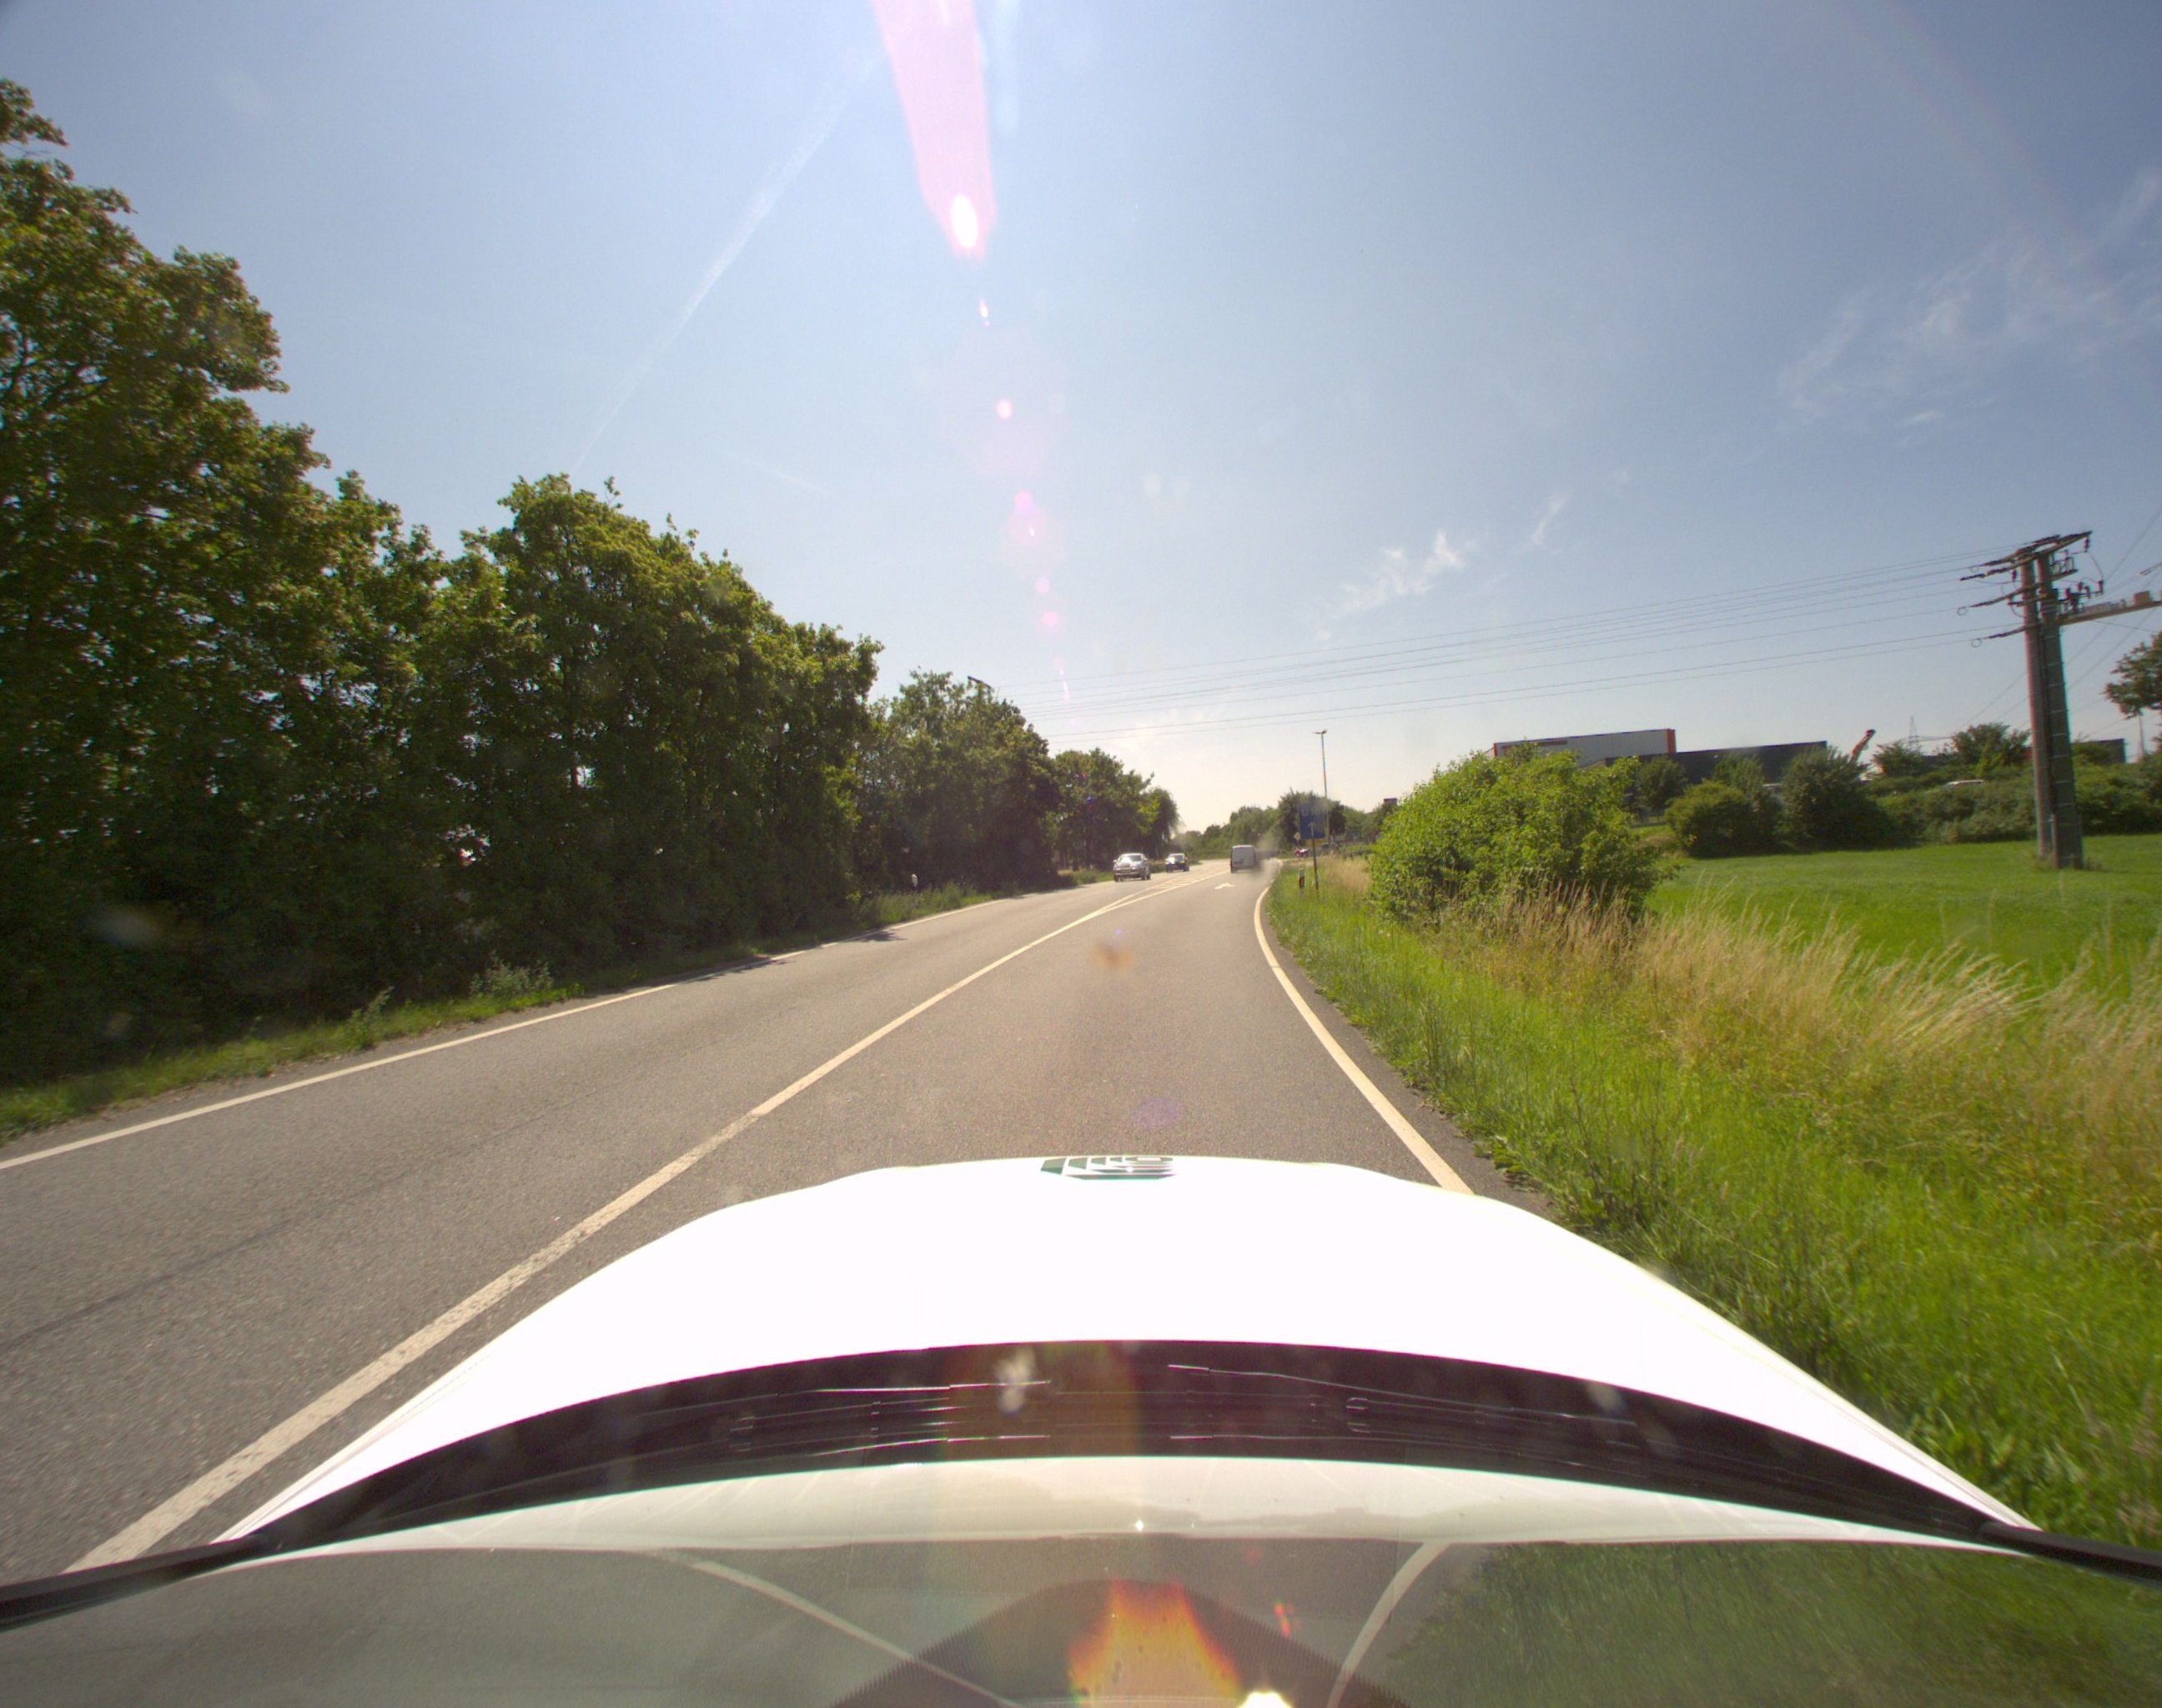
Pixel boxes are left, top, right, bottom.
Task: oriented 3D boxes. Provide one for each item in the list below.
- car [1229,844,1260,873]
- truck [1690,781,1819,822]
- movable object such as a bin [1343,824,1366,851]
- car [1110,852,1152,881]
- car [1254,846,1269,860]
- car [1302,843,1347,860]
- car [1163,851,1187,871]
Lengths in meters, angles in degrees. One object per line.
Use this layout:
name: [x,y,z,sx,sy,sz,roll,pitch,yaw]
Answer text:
car: [10.881,0.307,54.208,1.891,1.732,3.834,-3,-1,11]
truck: [61.428,-4.743,74.523,8.728,3.137,3.114,-2,-2,6]
movable object such as a bin: [35.965,-2.177,107.243,2.307,3.250,5.119,-2,-2,13]
car: [3.002,0.719,48.209,1.729,1.589,4.546,-1,0,12]
car: [22.742,-0.161,102.606,1.793,1.556,4.015,-4,1,13]
car: [26.472,-0.281,88.657,4.479,1.508,1.922,-5,-1,13]
car: [8.226,0.595,70.799,1.721,1.590,3.969,-2,0,11]
